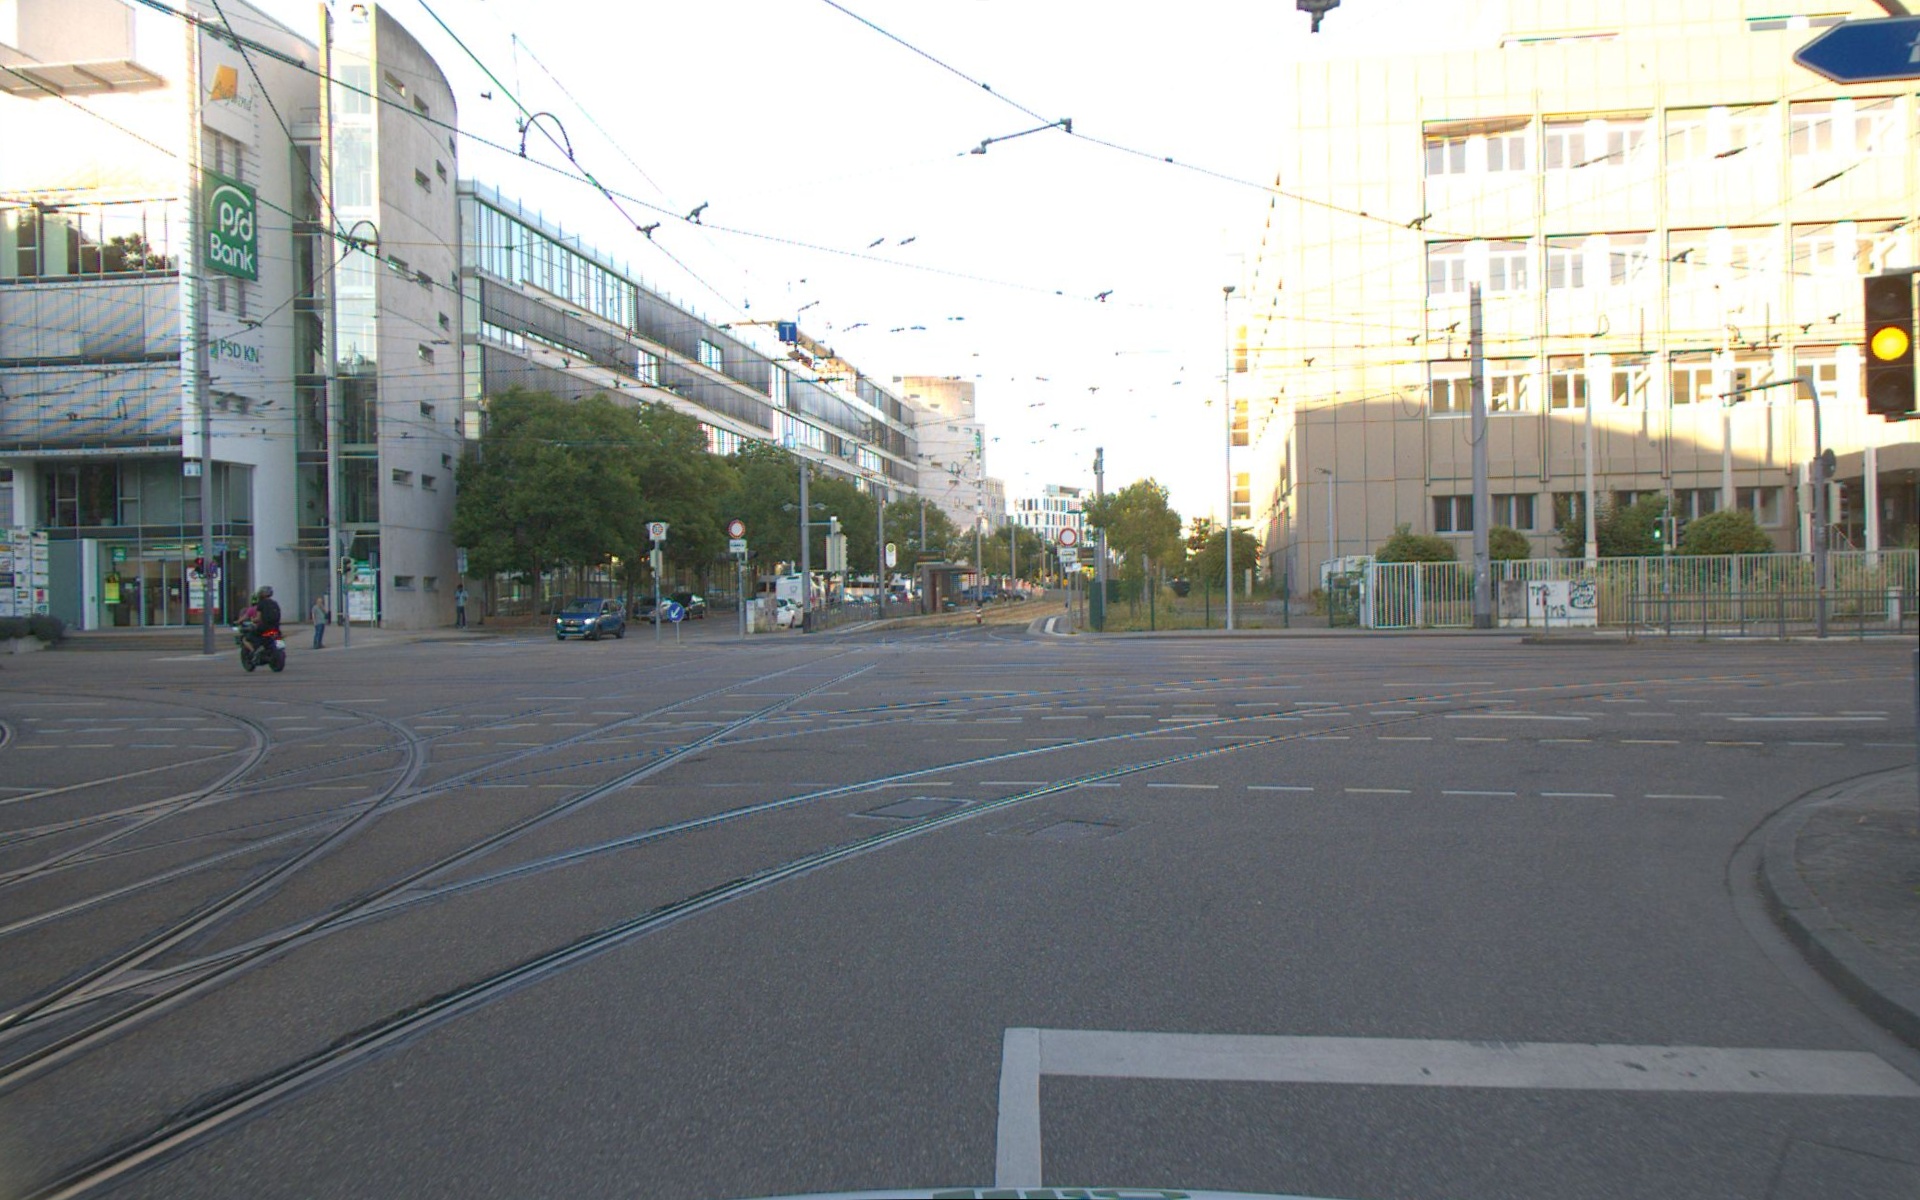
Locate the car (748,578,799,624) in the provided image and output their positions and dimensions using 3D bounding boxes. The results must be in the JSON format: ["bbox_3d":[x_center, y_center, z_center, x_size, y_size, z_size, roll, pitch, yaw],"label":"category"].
[{"bbox_3d":[-13.516,0.022,120.375,2.154,3.207,6.148,-1,0,8],"label":"car"}]

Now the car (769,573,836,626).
[{"bbox_3d":[-7.905,-0.047,83.535,2.409,2.526,5.811,-1,0,4],"label":"car"}]

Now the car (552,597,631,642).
[{"bbox_3d":[-15.092,0.777,67.929,1.647,1.729,4.243,-1,0,9],"label":"car"}]

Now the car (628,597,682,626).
[{"bbox_3d":[-17.016,0.630,92.495,1.647,1.528,4.243,-1,0,8],"label":"car"}]

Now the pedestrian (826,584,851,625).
[{"bbox_3d":[-6.207,0.233,84.459,1.024,2.066,0.978,-1,0,-20],"label":"pedestrian"}]

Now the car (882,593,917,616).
[{"bbox_3d":[-4.003,0.315,110.775,1.647,1.464,4.129,-1,0,8],"label":"car"}]

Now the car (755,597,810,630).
[{"bbox_3d":[-8.315,0.624,77.784,1.647,1.464,4.129,-1,0,8],"label":"car"}]

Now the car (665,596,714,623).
[{"bbox_3d":[-16.120,0.566,98.572,1.647,1.528,4.243,-1,0,8],"label":"car"}]

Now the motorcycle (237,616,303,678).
[{"bbox_3d":[-14.859,0.982,35.580,0.821,1.261,2.460,-1,0,-35],"label":"motorcycle"}]

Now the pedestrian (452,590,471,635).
[{"bbox_3d":[-22.035,0.554,73.076,0.648,1.956,0.548,-2,0,-4],"label":"pedestrian"}]

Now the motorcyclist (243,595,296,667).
[{"bbox_3d":[-14.830,0.658,35.515,0.821,1.499,1.192,-1,0,-34],"label":"motorcyclist"}]

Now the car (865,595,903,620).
[{"bbox_3d":[-4.702,0.477,102.729,1.647,1.464,4.129,-1,0,8],"label":"car"}]

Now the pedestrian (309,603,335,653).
[{"bbox_3d":[-22.418,0.989,58.100,0.535,1.741,0.660,-1,0,17],"label":"pedestrian"}]
